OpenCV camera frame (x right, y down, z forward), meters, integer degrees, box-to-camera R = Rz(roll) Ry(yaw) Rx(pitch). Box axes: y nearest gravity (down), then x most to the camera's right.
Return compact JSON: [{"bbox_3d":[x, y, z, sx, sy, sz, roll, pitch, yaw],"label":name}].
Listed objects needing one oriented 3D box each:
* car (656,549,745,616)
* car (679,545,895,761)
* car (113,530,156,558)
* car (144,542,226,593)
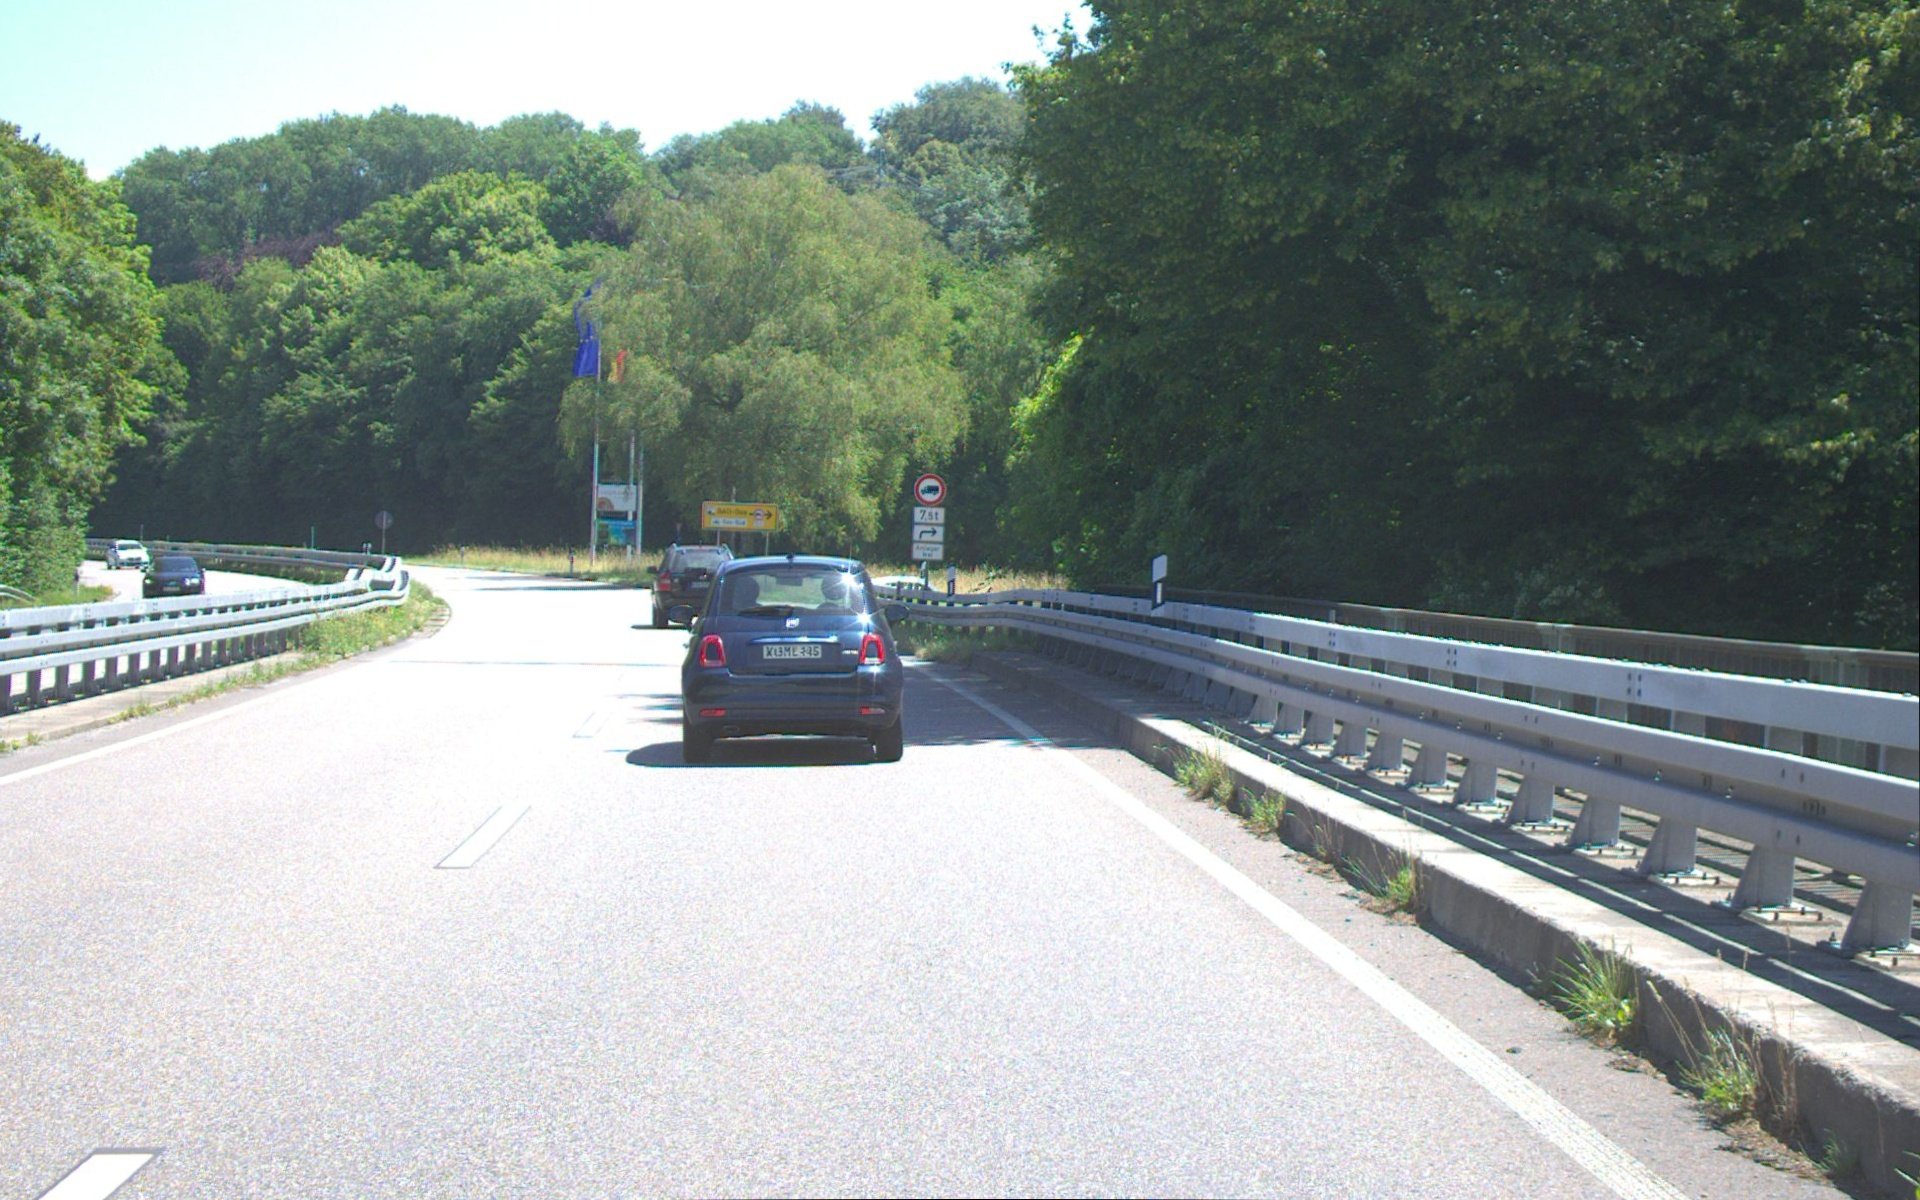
[{"bbox_3d":[-5.316,-0.369,70.193,1.525,1.309,3.416,-1,1,-9],"label":"car"},{"bbox_3d":[-1.281,0.344,26.022,1.513,1.495,3.590,0,1,-2],"label":"car"},{"bbox_3d":[-46.300,-3.132,192.778,1.755,1.567,4.415,-1,1,-21],"label":"car"},{"bbox_3d":[-23.982,-1.026,106.550,1.755,1.523,4.685,0,1,-4],"label":"car"}]
